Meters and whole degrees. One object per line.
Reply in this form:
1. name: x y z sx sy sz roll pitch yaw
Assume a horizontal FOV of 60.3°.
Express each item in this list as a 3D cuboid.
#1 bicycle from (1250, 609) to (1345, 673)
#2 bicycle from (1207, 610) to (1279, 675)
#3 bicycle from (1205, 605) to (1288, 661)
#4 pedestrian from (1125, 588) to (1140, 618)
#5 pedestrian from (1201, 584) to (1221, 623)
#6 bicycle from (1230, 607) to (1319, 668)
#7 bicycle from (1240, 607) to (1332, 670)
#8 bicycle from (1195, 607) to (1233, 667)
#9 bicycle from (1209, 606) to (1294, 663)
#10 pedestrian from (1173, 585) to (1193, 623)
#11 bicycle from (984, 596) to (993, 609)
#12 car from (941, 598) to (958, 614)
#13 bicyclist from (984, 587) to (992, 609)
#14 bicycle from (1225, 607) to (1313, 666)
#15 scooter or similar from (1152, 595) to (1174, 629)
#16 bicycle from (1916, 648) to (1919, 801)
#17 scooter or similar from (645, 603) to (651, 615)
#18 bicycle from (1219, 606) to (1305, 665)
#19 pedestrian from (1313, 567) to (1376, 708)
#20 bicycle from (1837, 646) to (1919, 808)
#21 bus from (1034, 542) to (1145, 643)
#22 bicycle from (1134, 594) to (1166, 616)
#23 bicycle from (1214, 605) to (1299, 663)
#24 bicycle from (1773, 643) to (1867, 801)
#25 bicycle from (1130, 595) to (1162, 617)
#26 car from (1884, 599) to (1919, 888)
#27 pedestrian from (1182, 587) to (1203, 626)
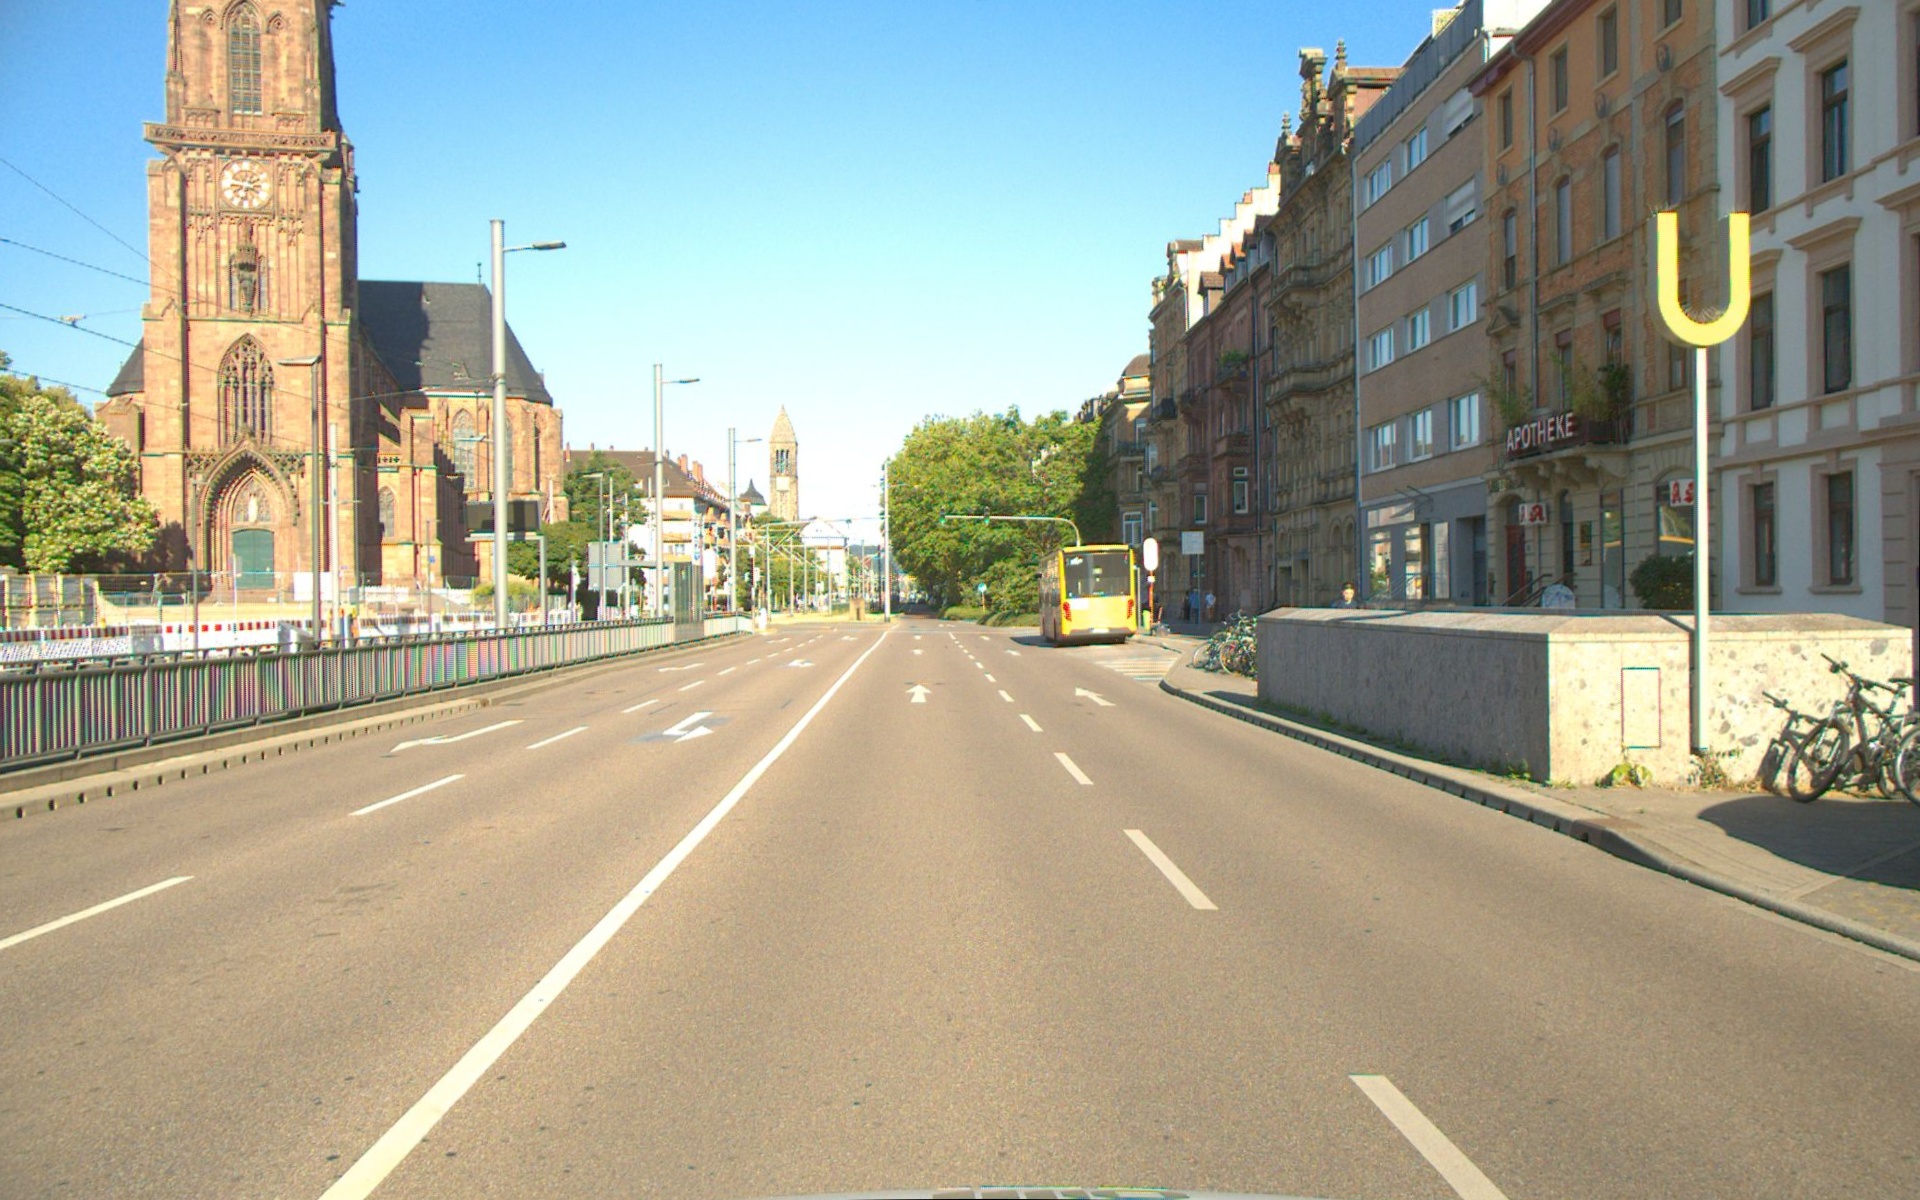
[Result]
1. bicycle: 6.467 0.786 31.709 1.729 1.199 0.470 0 1 -2
2. bicycle: 5.362 0.793 31.414 0.462 1.167 1.757 0 1 -24
3. bicycle: 6.265 0.712 36.233 1.729 1.208 0.470 0 1 -2
4. pedestrian: 9.897 0.160 95.068 0.688 1.685 1.136 -1 0 -2
5. pedestrian: 12.768 0.182 84.102 0.805 1.964 1.136 -1 0 -2
6. bicycle: 6.407 0.759 33.715 1.729 1.208 0.470 0 1 -2
7. bicycle: 6.432 0.758 32.708 1.729 1.208 0.470 0 1 -2
8. bicycle: 5.228 0.755 34.123 0.459 1.167 1.770 0 1 -1
9. bicycle: 6.283 0.733 35.730 1.755 1.208 0.470 0 1 -2
10. pedestrian: 11.660 0.220 86.433 0.805 1.964 1.136 -1 0 -2
11. bicycle: 2.418 0.225 140.915 0.628 1.066 2.359 -2 -1 -2
12. car: -1.042 0.582 166.516 1.610 1.537 4.182 -2 0 -1
13. bicyclist: 2.396 -0.137 140.969 0.628 1.846 1.052 -2 -1 -2
14. bicycle: 6.389 0.751 34.234 1.729 1.208 0.470 0 1 -2
15. scooter or similar: 7.868 0.460 64.274 0.423 1.271 1.291 -2 -1 -11
16. bicycle: 7.631 0.928 12.520 0.500 1.129 1.090 2 1 39
17. scooter or similar: -34.634 0.958 183.526 0.393 1.283 1.231 -2 3 -1
18. bicycle: 6.339 0.740 34.735 1.729 1.208 0.470 0 1 -2
19. pedestrian: 5.770 0.555 24.828 0.735 2.048 0.698 -2 3 -1
20. bicycle: 6.960 0.926 12.454 0.411 1.129 1.090 2 1 39
21. bus: 4.530 -0.262 60.641 2.660 3.236 12.537 -2 0 -2
22. bicycle: 11.694 0.310 101.704 1.851 1.260 0.489 -2 -1 -14
23. bicycle: 6.306 0.713 35.229 1.729 1.208 0.470 0 1 -2
24. bicycle: 6.626 0.911 12.733 0.411 1.129 1.090 2 1 39
25. bicycle: 11.567 0.362 102.855 1.851 1.260 0.489 -2 -1 -14
26. car: 6.970 0.718 9.345 4.080 1.489 1.931 -1 0 -43
27. pedestrian: 11.813 0.321 84.067 0.805 1.964 1.136 -1 0 -2
